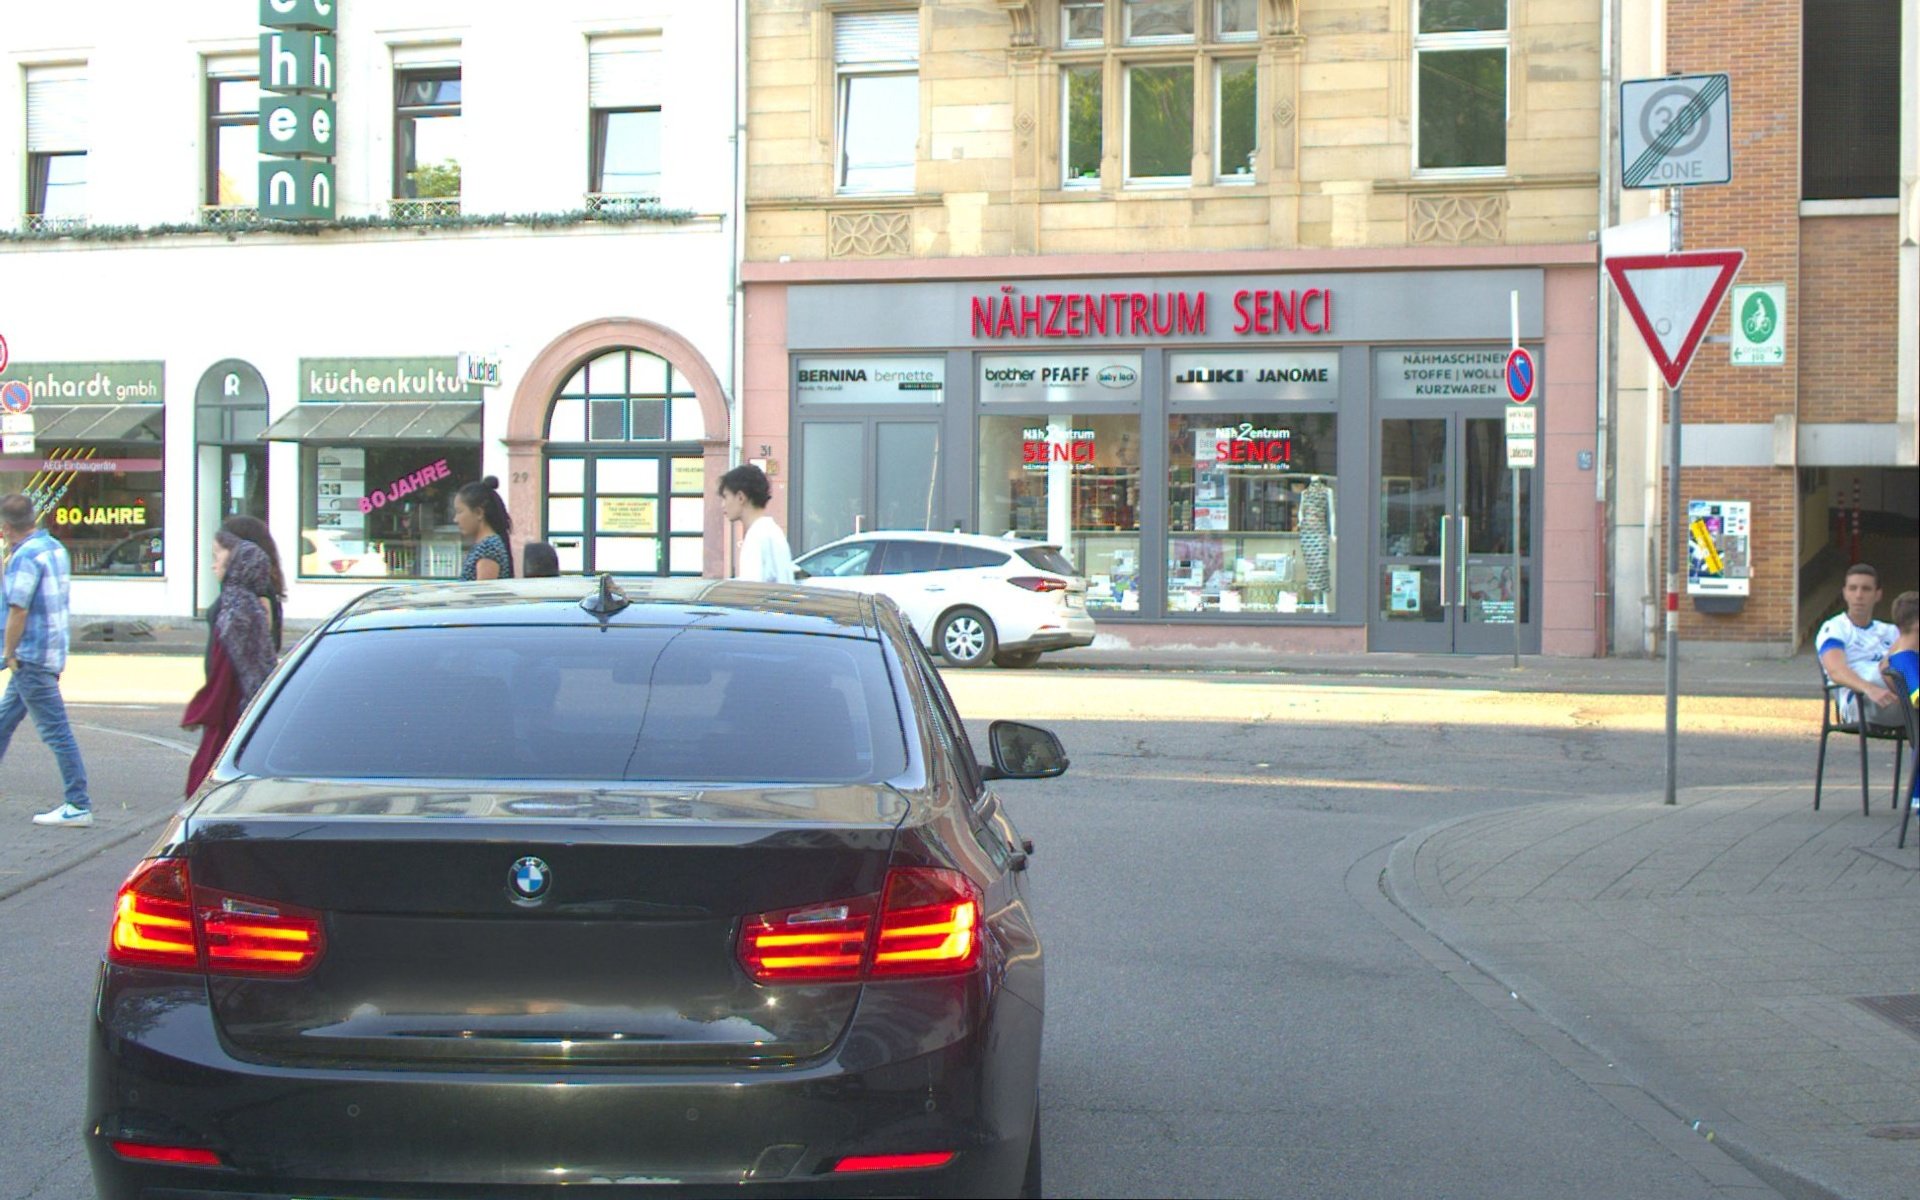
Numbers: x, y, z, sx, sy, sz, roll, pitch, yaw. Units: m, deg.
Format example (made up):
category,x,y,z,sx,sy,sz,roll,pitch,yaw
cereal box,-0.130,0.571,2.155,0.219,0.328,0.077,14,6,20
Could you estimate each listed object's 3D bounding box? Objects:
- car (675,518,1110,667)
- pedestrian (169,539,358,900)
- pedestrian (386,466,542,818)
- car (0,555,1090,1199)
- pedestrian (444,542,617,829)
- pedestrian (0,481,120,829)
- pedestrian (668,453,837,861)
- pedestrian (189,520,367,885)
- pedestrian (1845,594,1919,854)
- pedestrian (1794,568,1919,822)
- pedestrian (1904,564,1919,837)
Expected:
category,x,y,z,sx,sy,sz,roll,pitch,yaw
car,-0.726,-0.104,37.462,4.356,1.557,1.867,0,0,20
pedestrian,-3.014,0.505,14.904,0.735,1.508,0.650,2,1,-11
pedestrian,-2.498,0.200,17.351,0.667,1.740,0.606,0,1,4
car,-0.769,0.632,8.048,1.765,1.370,4.791,1,1,-2
pedestrian,-2.242,0.436,18.007,0.815,1.469,0.606,0,1,2
pedestrian,-4.847,0.262,17.594,0.895,1.719,0.607,2,3,4
pedestrian,-0.973,0.259,16.234,0.699,1.871,0.678,1,1,2
pedestrian,-3.093,0.454,15.607,0.724,1.603,0.650,2,1,-11
pedestrian,4.527,0.555,15.604,0.890,1.146,0.619,0,1,5
pedestrian,4.617,0.467,17.445,0.617,1.250,0.735,0,1,3
pedestrian,4.834,0.474,16.236,0.617,1.279,0.659,0,1,6
